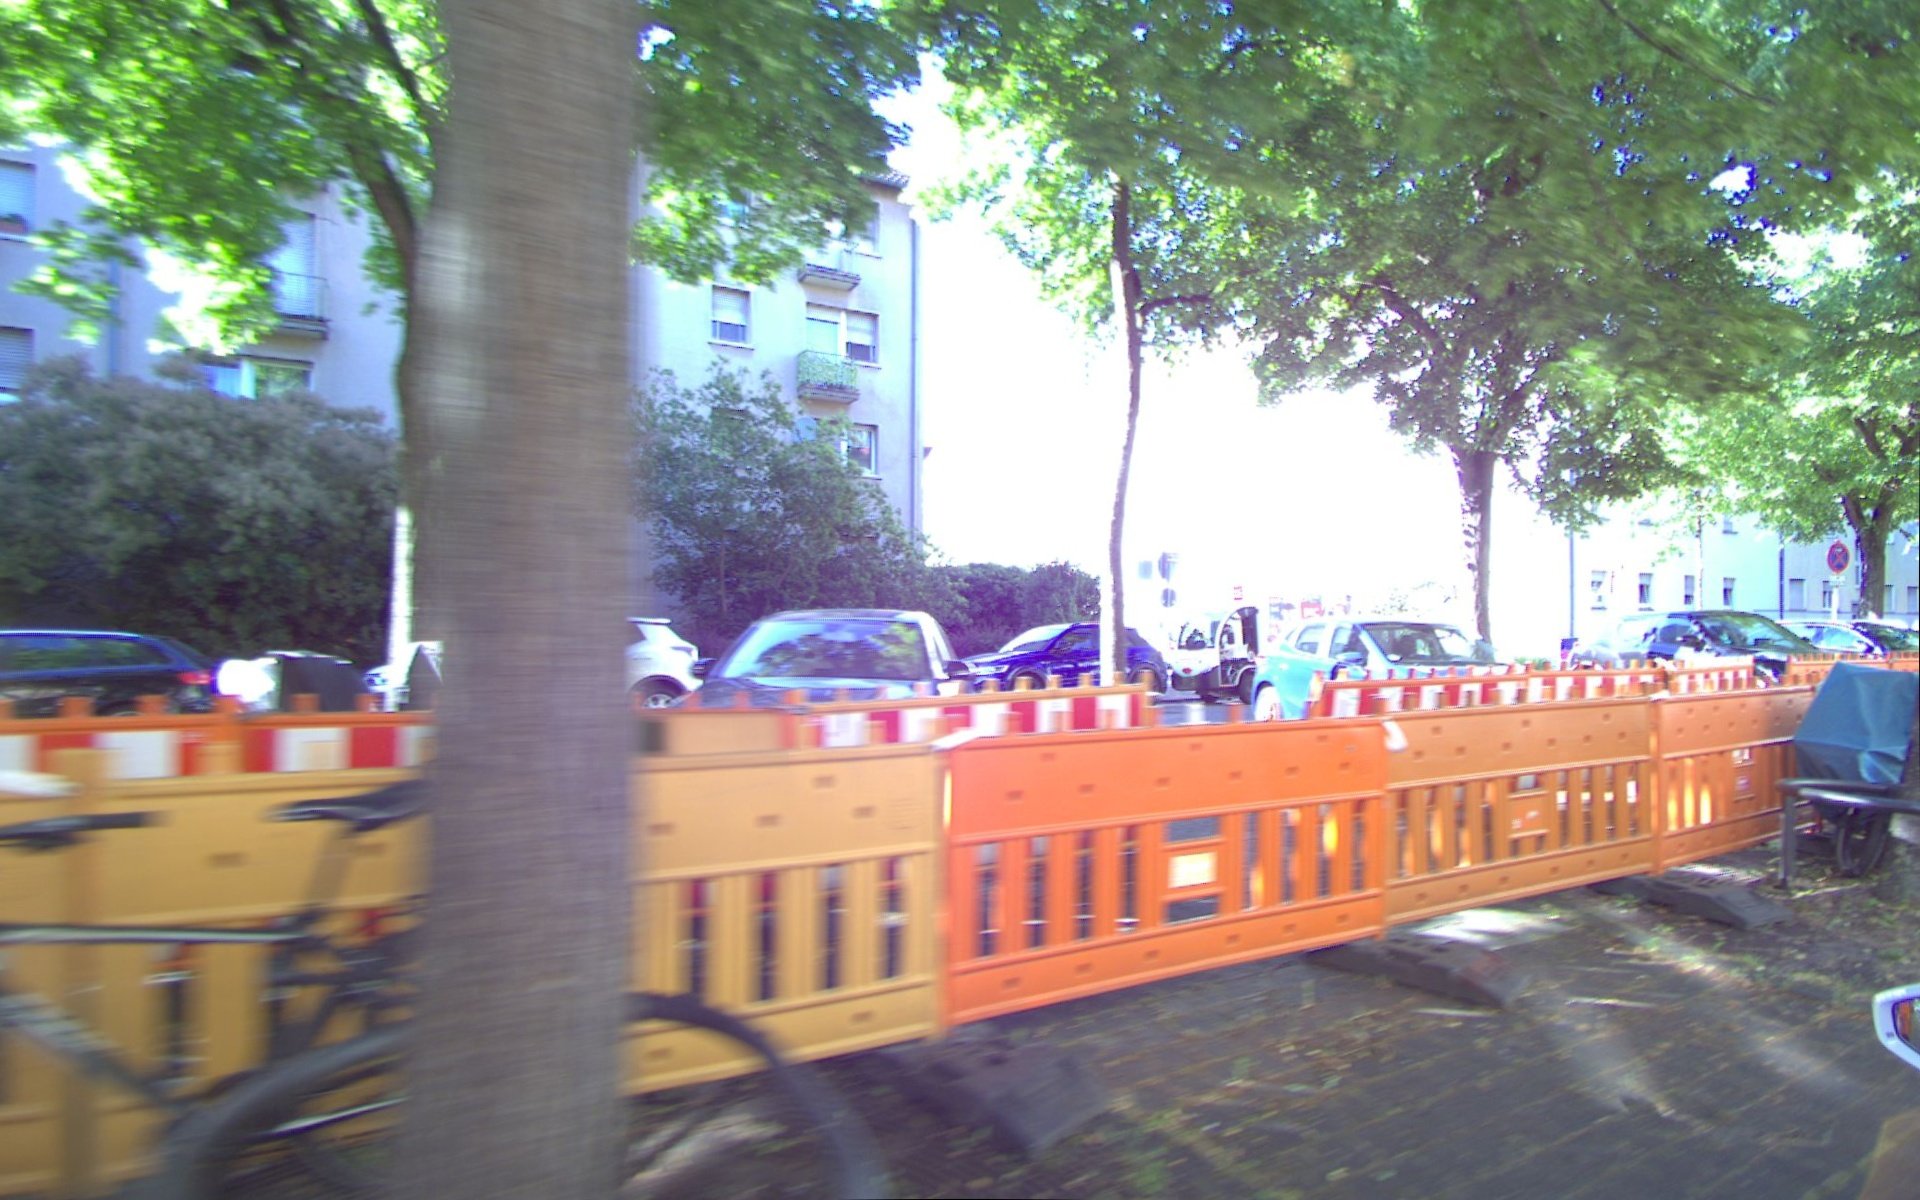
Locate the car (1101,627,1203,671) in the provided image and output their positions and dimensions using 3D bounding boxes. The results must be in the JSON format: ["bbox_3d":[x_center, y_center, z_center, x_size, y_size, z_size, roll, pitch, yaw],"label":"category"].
[{"bbox_3d":[7.102,1.788,37.532,1.632,1.538,3.970,1,-1,-29],"label":"car"}]

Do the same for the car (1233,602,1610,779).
[{"bbox_3d":[4.491,0.812,10.489,1.550,1.480,3.905,0,-2,-12],"label":"car"}]

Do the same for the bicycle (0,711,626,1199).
[{"bbox_3d":[-1.461,0.837,1.920,1.531,1.171,0.279,1,0,-26],"label":"bicycle"}]

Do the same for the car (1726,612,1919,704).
[{"bbox_3d":[15.743,0.983,18.127,1.223,1.472,2.948,1,0,-13],"label":"car"}]

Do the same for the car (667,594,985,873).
[{"bbox_3d":[-0.705,0.809,7.606,1.637,1.539,4.002,0,-2,4],"label":"car"}]

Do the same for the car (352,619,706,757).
[{"bbox_3d":[-5.597,1.050,13.230,4.064,1.579,1.711,1,-2,-30],"label":"car"}]

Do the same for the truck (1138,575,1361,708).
[{"bbox_3d":[5.883,0.818,20.353,4.210,2.441,1.914,1,-2,-28],"label":"truck"}]

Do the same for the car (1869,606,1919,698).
[{"bbox_3d":[21.049,1.074,20.383,1.959,1.940,4.387,0,-1,13],"label":"car"}]

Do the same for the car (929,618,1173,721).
[{"bbox_3d":[1.643,1.135,17.546,4.147,1.595,1.612,1,0,-32],"label":"car"}]

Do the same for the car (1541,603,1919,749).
[{"bbox_3d":[9.998,0.924,13.470,1.666,1.647,4.130,0,-2,-7],"label":"car"}]

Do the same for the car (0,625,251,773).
[{"bbox_3d":[-10.096,1.001,10.608,4.078,1.462,1.711,1,-2,-30],"label":"car"}]

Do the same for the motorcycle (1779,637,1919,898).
[{"bbox_3d":[5.929,0.904,5.850,2.191,1.342,0.631,1,0,-15],"label":"motorcycle"}]
